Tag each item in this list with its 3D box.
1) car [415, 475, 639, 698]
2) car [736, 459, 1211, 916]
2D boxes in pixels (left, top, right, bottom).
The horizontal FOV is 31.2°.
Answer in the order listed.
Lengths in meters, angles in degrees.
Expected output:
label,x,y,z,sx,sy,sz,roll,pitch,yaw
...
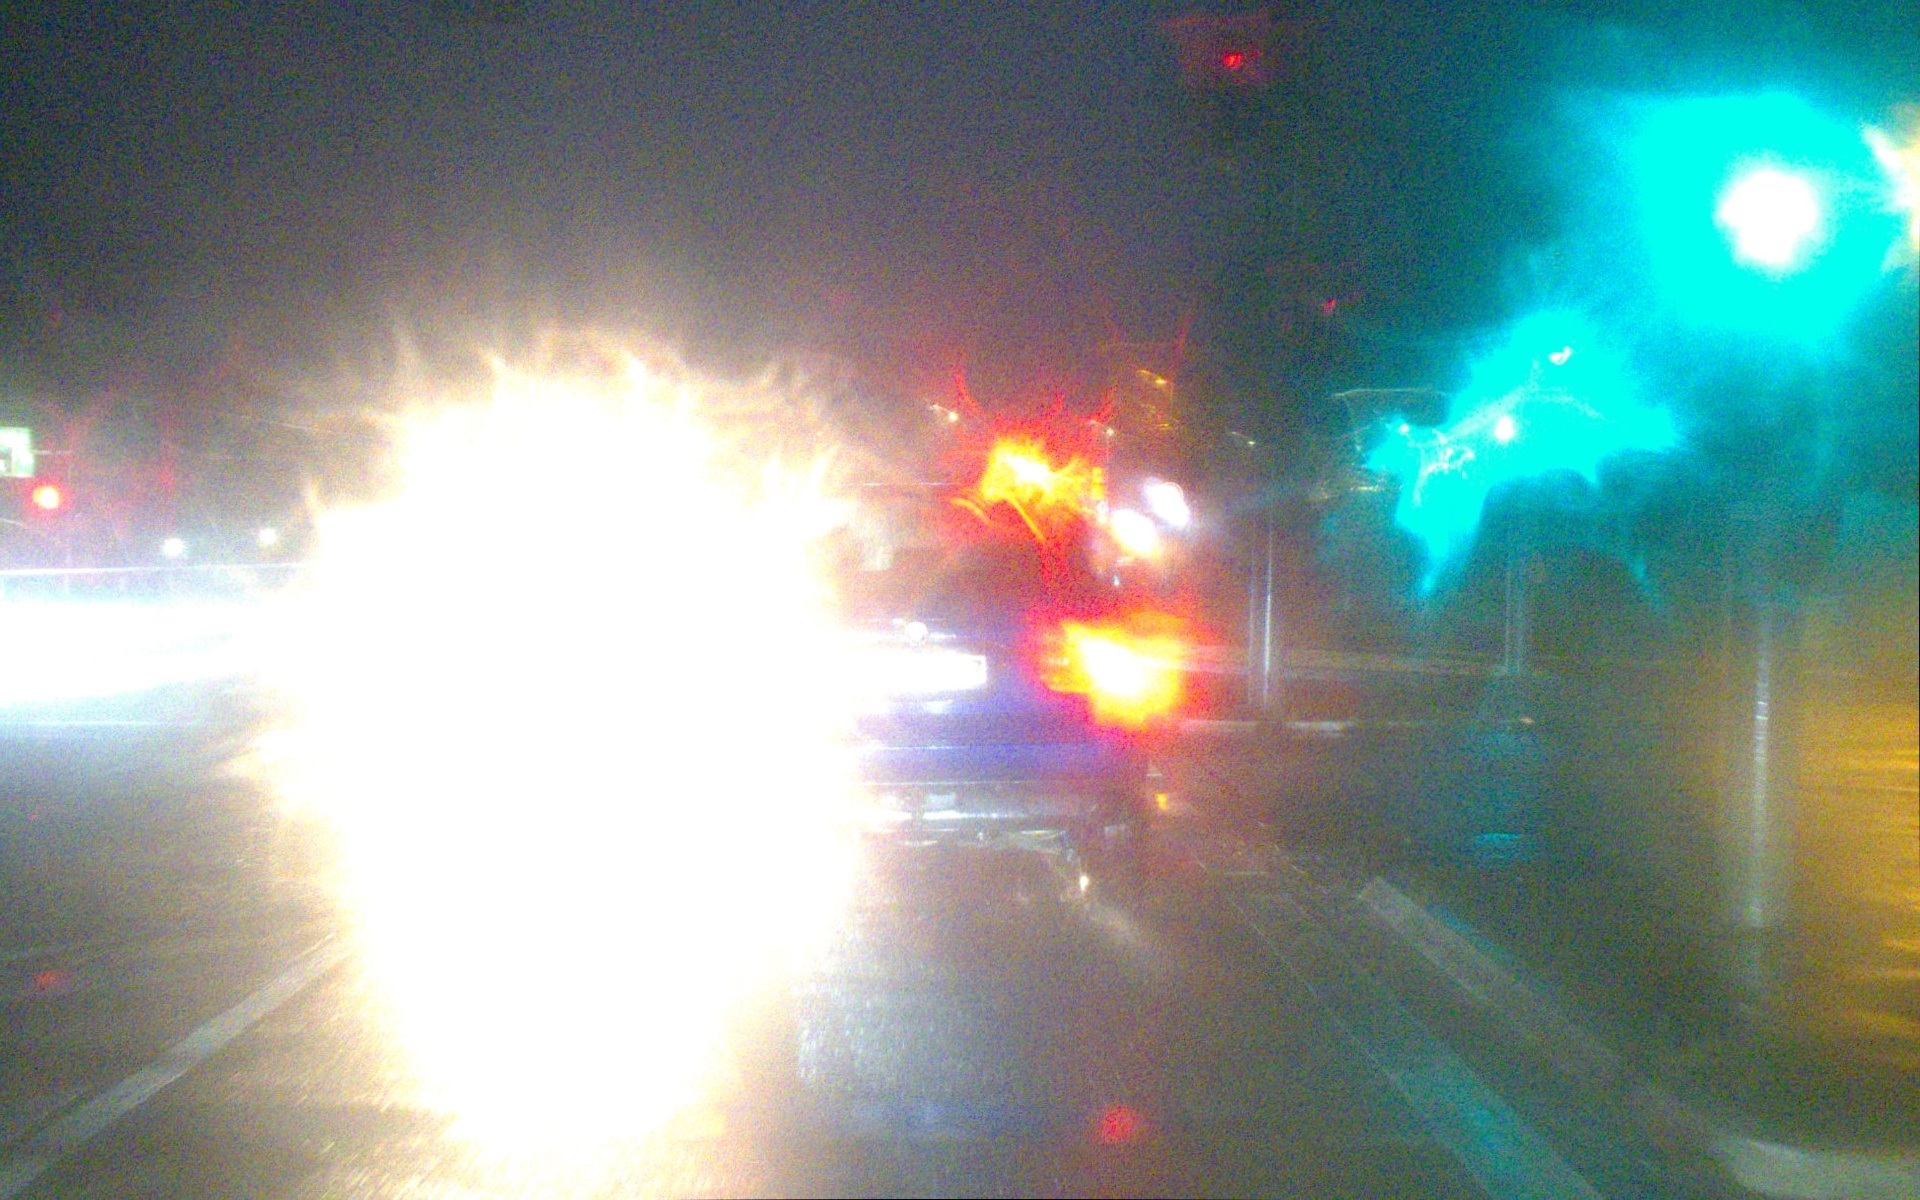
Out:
label,x,y,z,sx,sy,sz,roll,pitch,yaw
car,-4.153,-0.088,33.510,1.993,2.007,4.000,-1,-1,-5
car,-0.023,0.294,14.857,1.775,1.706,4.001,0,1,-2
